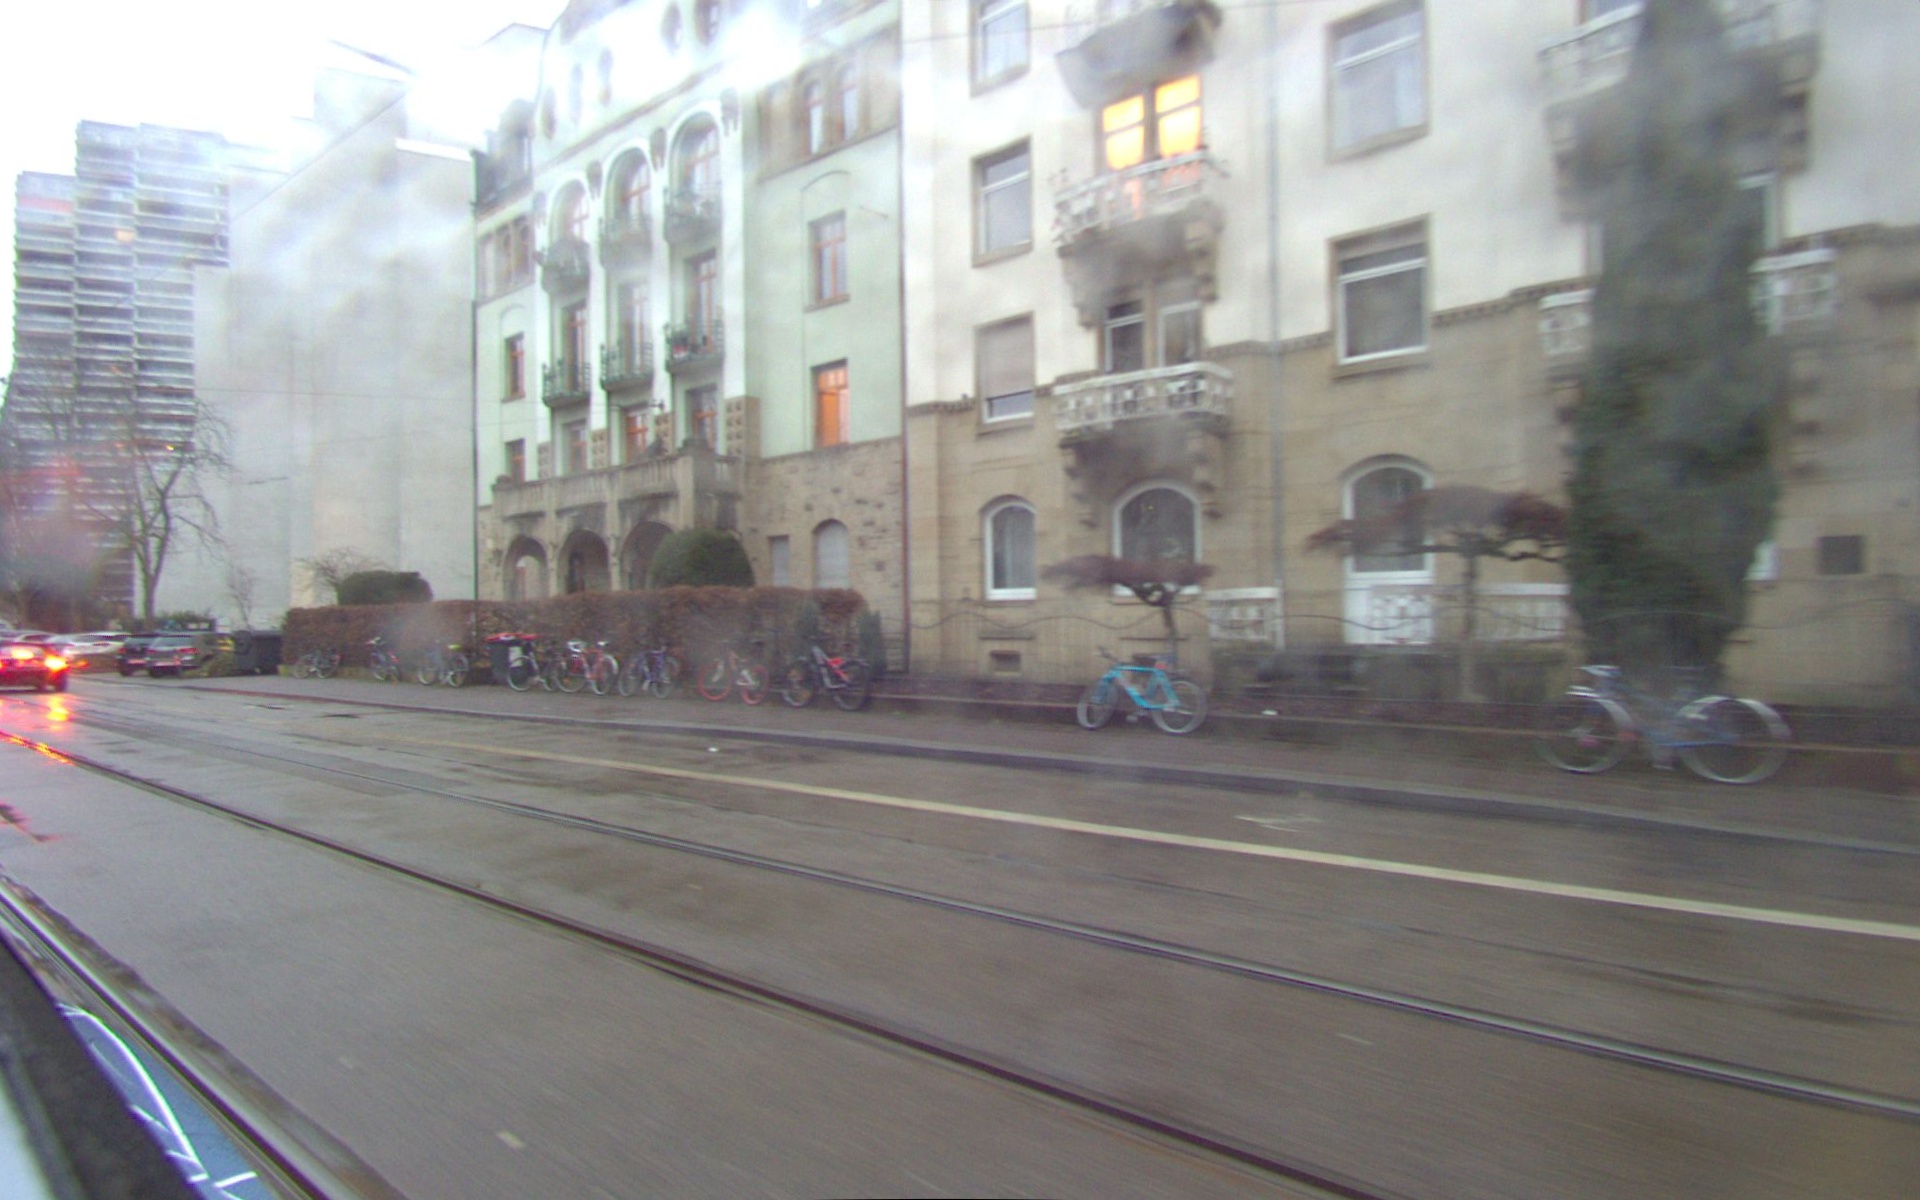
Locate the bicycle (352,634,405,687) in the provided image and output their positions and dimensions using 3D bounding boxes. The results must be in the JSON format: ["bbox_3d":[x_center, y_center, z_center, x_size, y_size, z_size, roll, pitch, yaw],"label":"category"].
[{"bbox_3d":[-14.058,1.454,24.450,1.661,1.221,0.617,-2,-2,41],"label":"bicycle"}]

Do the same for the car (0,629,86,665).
[{"bbox_3d":[-45.835,2.299,49.974,1.844,1.608,3.998,-1,-1,2],"label":"car"}]

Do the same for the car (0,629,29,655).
[{"bbox_3d":[-60.698,2.664,62.984,1.844,1.608,3.998,-1,-1,2],"label":"car"}]

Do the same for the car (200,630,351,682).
[{"bbox_3d":[-22.300,1.782,33.158,1.848,1.505,3.987,-1,-1,10],"label":"car"}]

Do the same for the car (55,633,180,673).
[{"bbox_3d":[-35.108,2.174,42.308,1.844,1.460,3.998,-1,-1,2],"label":"car"}]

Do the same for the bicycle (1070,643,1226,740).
[{"bbox_3d":[2.132,1.010,11.616,1.661,1.010,0.617,-2,-2,41],"label":"bicycle"}]

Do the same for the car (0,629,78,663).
[{"bbox_3d":[-48.043,2.351,52.064,1.844,1.608,3.998,-1,-1,2],"label":"car"}]

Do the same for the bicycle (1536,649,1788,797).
[{"bbox_3d":[5.876,0.980,8.530,1.661,1.101,0.617,-2,-2,41],"label":"bicycle"}]

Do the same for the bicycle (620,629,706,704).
[{"bbox_3d":[-5.140,1.130,17.467,1.661,1.221,0.617,-2,-2,41],"label":"bicycle"}]

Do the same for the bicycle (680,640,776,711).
[{"bbox_3d":[-3.767,1.186,16.343,1.726,1.073,0.617,-2,-2,41],"label":"bicycle"}]

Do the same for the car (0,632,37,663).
[{"bbox_3d":[-52.762,2.616,54.815,1.844,1.608,3.998,-1,-1,2],"label":"car"}]

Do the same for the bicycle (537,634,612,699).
[{"bbox_3d":[-7.302,1.234,19.124,1.661,1.173,0.617,-2,-2,41],"label":"bicycle"}]

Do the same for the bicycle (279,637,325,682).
[{"bbox_3d":[-17.902,1.601,27.510,1.661,1.173,0.617,-2,-1,41],"label":"bicycle"}]

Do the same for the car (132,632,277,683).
[{"bbox_3d":[-24.896,1.858,33.529,1.741,1.497,3.998,-1,-1,2],"label":"car"}]

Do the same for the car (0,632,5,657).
[{"bbox_3d":[-62.845,2.886,63.603,1.844,1.608,3.998,-1,-1,2],"label":"car"}]

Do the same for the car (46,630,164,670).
[{"bbox_3d":[-37.973,2.199,45.085,1.844,1.608,3.998,-1,-1,2],"label":"car"}]

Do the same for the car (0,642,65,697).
[{"bbox_3d":[-23.791,1.696,25.169,3.662,1.262,1.689,-2,-2,39],"label":"car"}]

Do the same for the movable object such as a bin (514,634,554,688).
[{"bbox_3d":[-9.657,1.372,22.934,0.674,1.173,0.617,-2,-2,41],"label":"movable object such as a bin"}]

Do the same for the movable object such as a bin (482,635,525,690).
[{"bbox_3d":[-10.131,1.374,22.447,0.674,1.173,0.651,-2,-2,41],"label":"movable object such as a bin"}]

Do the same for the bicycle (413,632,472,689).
[{"bbox_3d":[-11.688,1.352,22.850,1.661,1.221,0.617,-2,-2,41],"label":"bicycle"}]

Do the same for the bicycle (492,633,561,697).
[{"bbox_3d":[-8.746,1.293,20.400,1.661,1.221,0.617,-2,-2,41],"label":"bicycle"}]

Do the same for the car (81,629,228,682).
[{"bbox_3d":[-27.730,1.876,35.021,1.844,1.608,3.998,-1,-1,2],"label":"car"}]

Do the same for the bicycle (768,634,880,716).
[{"bbox_3d":[-2.030,1.078,14.990,1.782,1.134,0.617,-2,-2,41],"label":"bicycle"}]

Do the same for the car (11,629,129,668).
[{"bbox_3d":[-40.549,2.188,46.244,1.844,1.608,3.998,-1,-1,2],"label":"car"}]
